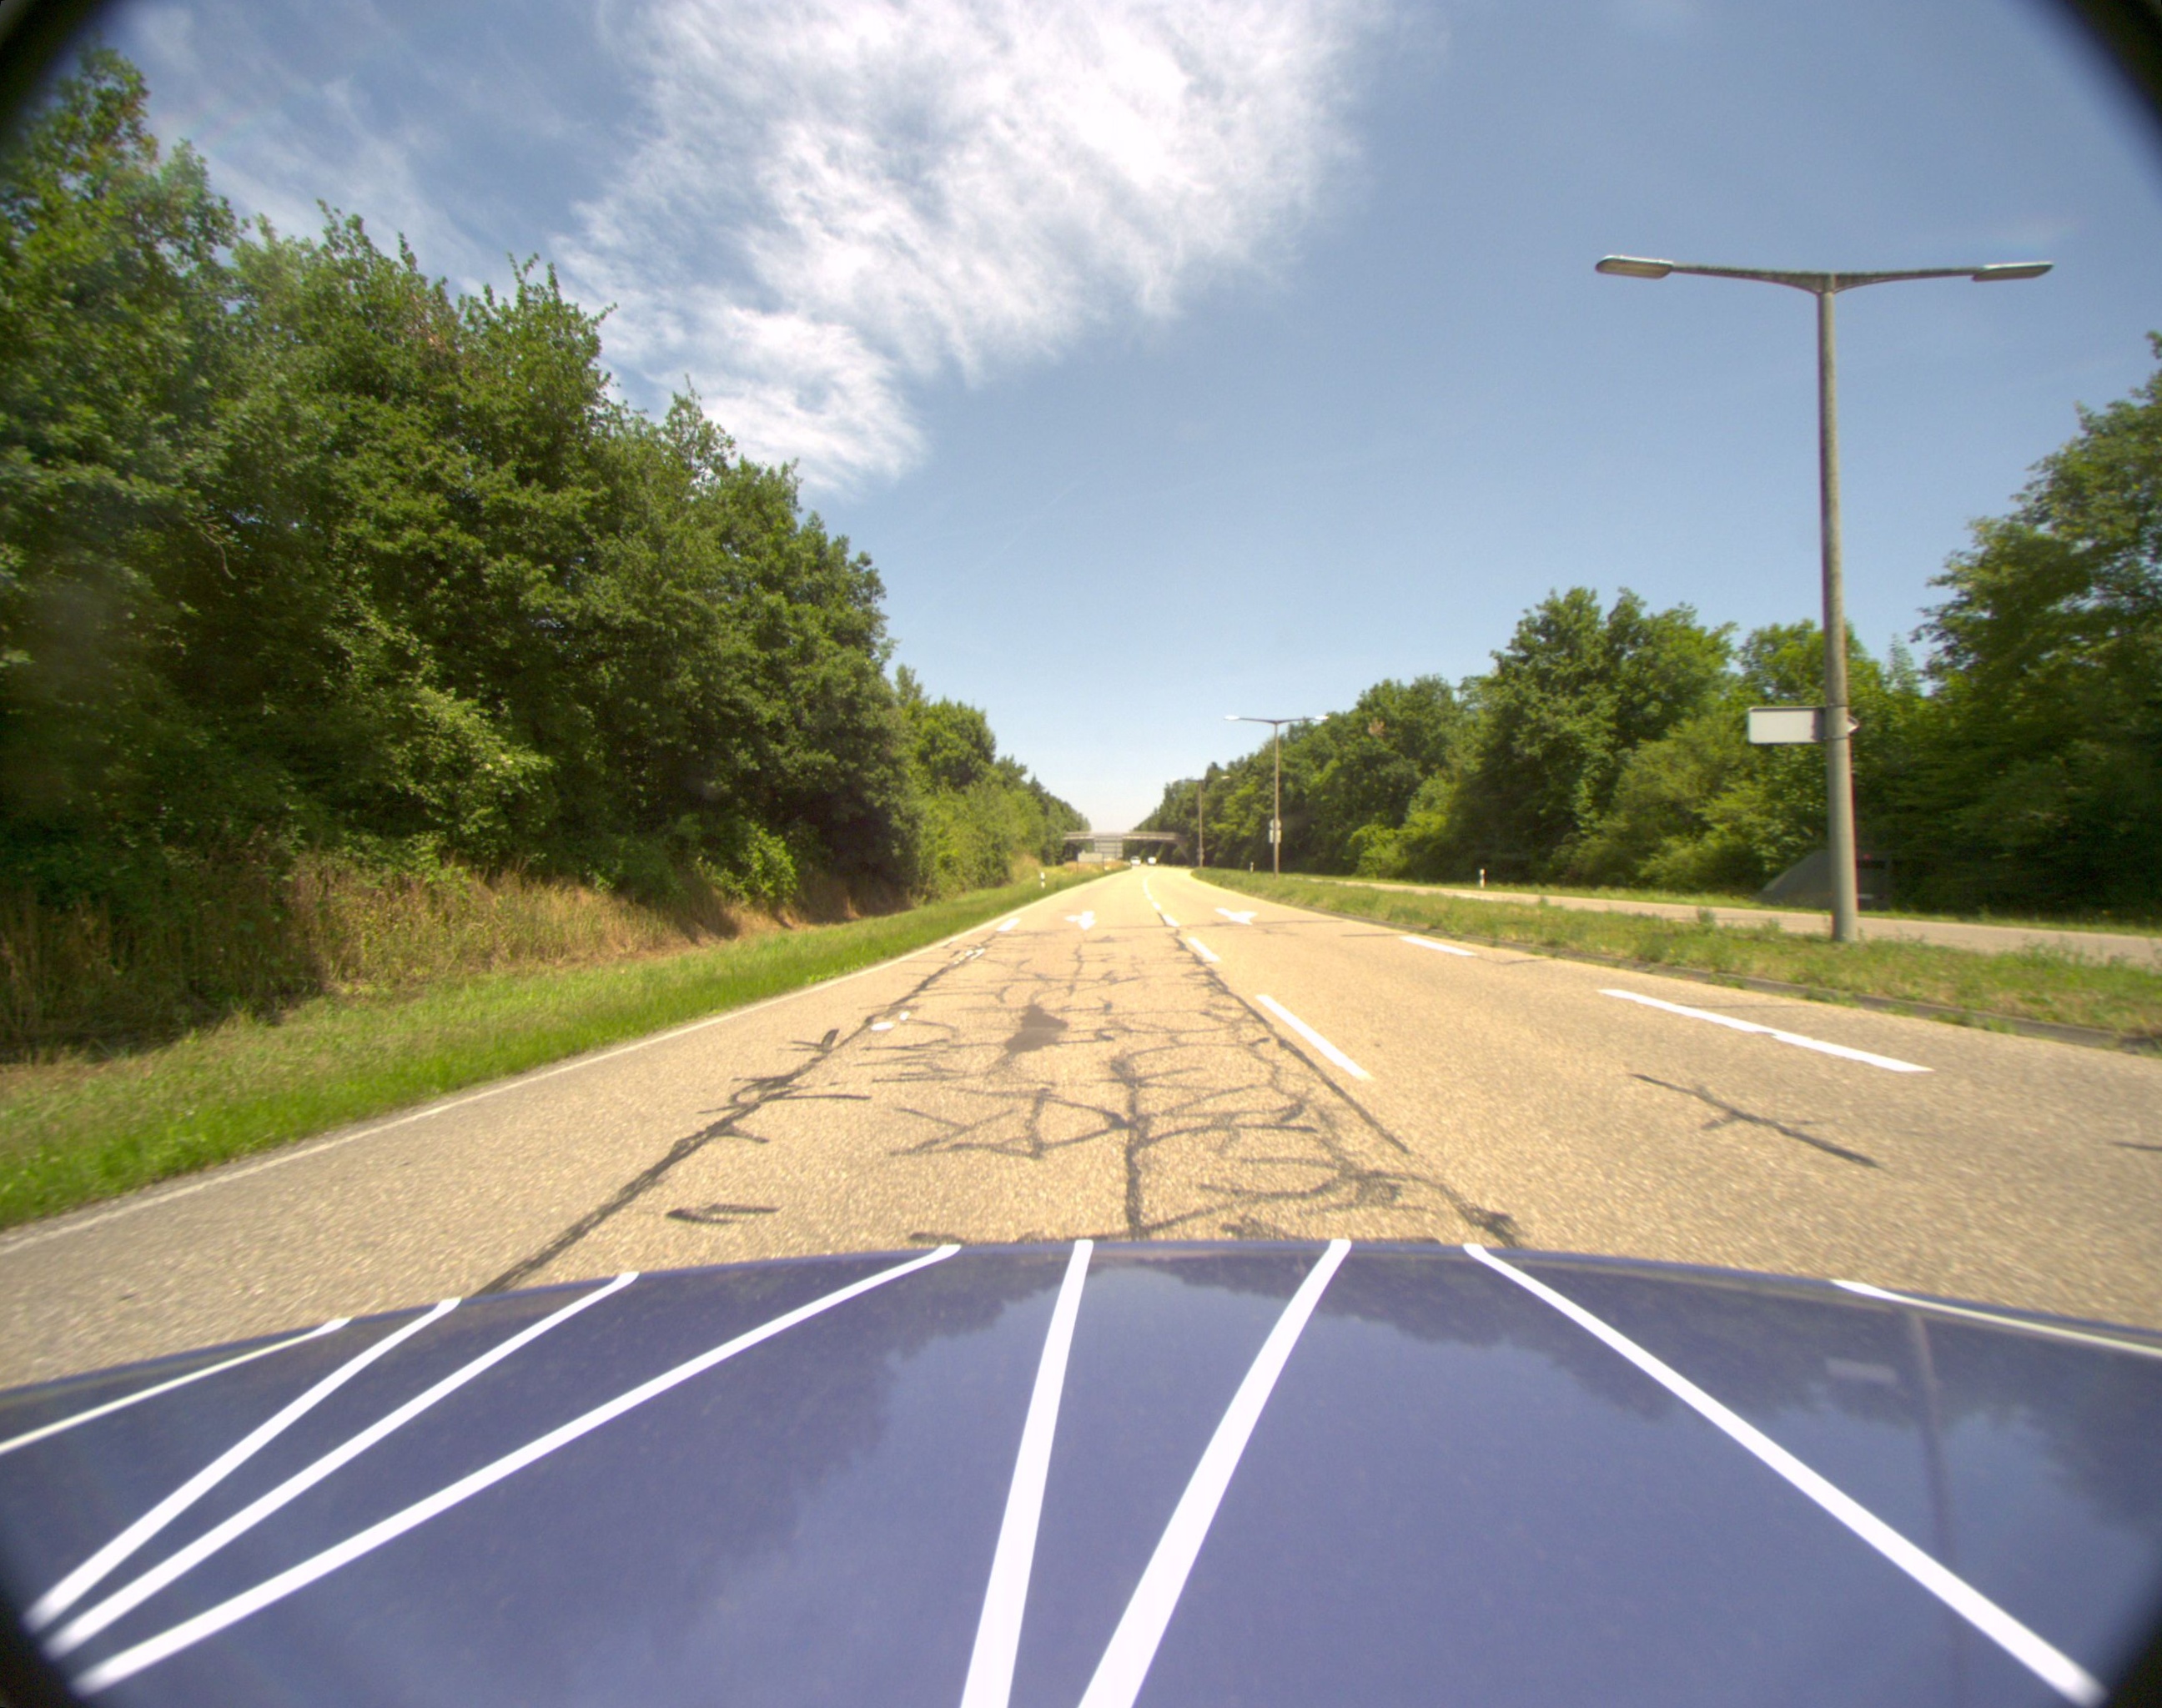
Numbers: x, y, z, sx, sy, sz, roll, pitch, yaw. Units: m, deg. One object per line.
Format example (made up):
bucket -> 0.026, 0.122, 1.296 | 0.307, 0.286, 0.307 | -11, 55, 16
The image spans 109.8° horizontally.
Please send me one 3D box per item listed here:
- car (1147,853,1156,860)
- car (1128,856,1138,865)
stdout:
car -> 16.120, 0.554, 174.276 | 1.736, 1.678, 4.095 | 2, 0, 0
car -> 10.634, 1.287, 155.351 | 1.865, 1.747, 3.999 | 1, 0, 0
